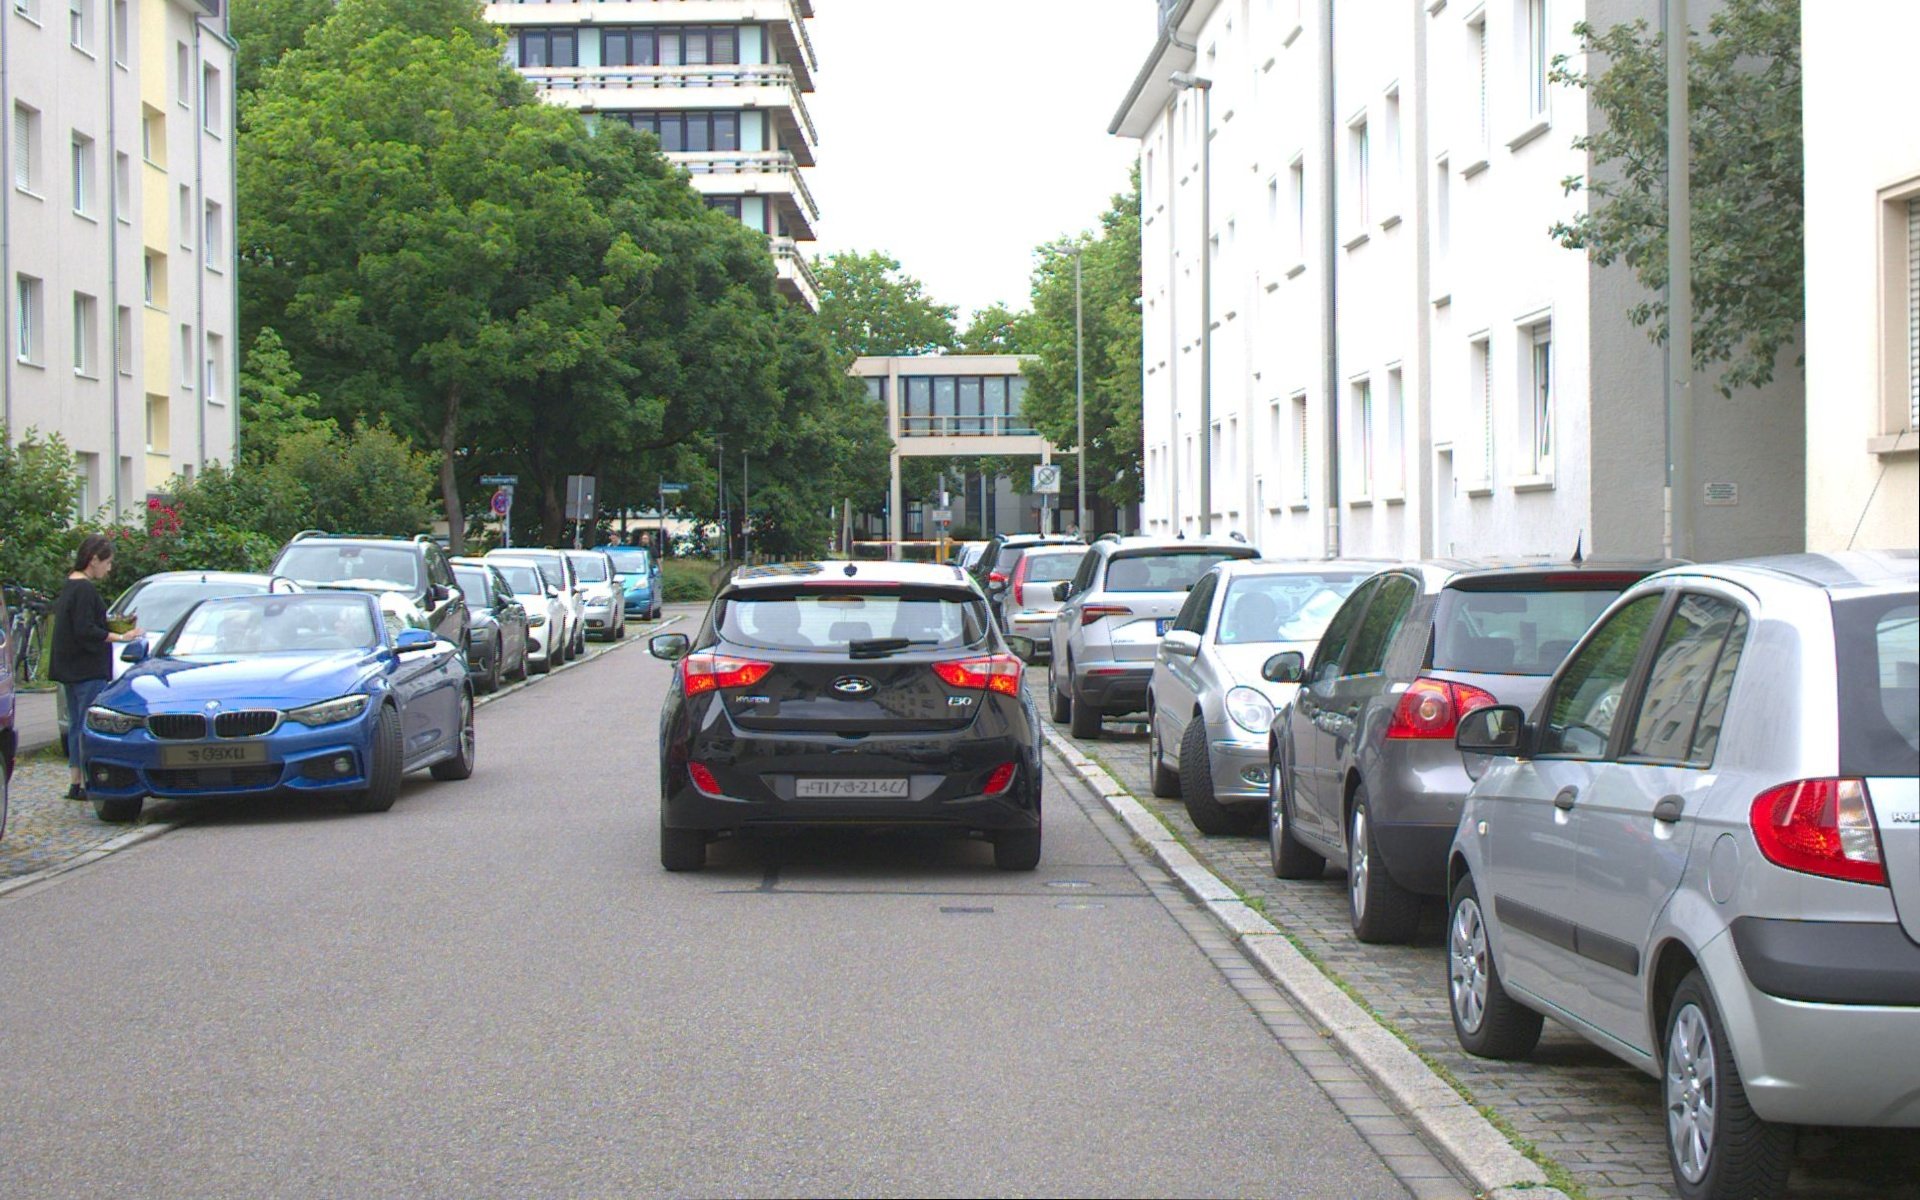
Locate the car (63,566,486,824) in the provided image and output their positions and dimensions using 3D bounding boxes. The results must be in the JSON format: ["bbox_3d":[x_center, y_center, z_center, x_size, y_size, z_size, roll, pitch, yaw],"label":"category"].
[{"bbox_3d":[-4.265,0.524,22.087,1.845,1.446,4.501,0,1,0],"label":"car"}]

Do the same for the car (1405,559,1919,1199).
[{"bbox_3d":[2.407,0.630,8.946,1.848,1.445,3.833,0,1,-2],"label":"car"}]

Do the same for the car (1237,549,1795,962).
[{"bbox_3d":[2.164,0.534,14.348,1.602,1.471,3.869,1,1,-1],"label":"car"}]

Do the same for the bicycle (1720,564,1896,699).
[{"bbox_3d":[6.817,0.250,27.655,1.293,1.059,0.497,-1,1,1],"label":"bicycle"}]

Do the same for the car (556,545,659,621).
[{"bbox_3d":[-7.367,-0.376,72.205,1.993,1.536,4.001,0,1,-4],"label":"car"}]

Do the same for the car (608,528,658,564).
[{"bbox_3d":[-12.392,-2.066,130.331,1.665,1.328,3.396,0,1,-1],"label":"car"}]

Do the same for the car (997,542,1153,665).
[{"bbox_3d":[1.432,0.011,44.244,1.820,1.498,4.091,0,1,-1],"label":"car"}]

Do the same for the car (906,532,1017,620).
[{"bbox_3d":[-0.010,-0.464,62.147,1.820,1.514,4.674,0,1,-2],"label":"car"}]

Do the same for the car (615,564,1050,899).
[{"bbox_3d":[-0.592,0.558,17.319,1.903,1.428,4.233,-1,1,-1],"label":"car"}]

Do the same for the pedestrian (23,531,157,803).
[{"bbox_3d":[-5.587,0.414,22.057,0.740,1.696,0.796,-1,1,-19],"label":"pedestrian"}]

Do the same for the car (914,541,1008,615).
[{"bbox_3d":[-0.012,-0.496,72.759,1.820,1.514,4.674,0,1,-2],"label":"car"}]

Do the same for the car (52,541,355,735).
[{"bbox_3d":[-6.167,0.260,28.404,1.744,1.459,3.786,-1,1,-1],"label":"car"}]

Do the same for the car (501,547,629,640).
[{"bbox_3d":[-6.844,-0.134,59.894,1.993,1.536,4.001,0,1,-4],"label":"car"}]

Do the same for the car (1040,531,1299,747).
[{"bbox_3d":[1.641,0.261,28.172,1.820,1.636,4.091,0,1,-1],"label":"car"}]

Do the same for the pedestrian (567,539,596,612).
[{"bbox_3d":[-8.909,-0.584,81.015,0.600,1.707,0.648,0,1,0],"label":"pedestrian"}]

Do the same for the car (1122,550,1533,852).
[{"bbox_3d":[1.925,0.470,19.283,1.725,1.471,4.505,0,1,-1],"label":"car"}]

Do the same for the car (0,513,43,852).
[{"bbox_3d":[-5.905,0.443,16.748,1.956,1.764,4.362,0,1,-4],"label":"car"}]

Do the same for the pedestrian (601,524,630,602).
[{"bbox_3d":[-8.144,-0.877,81.324,0.605,1.825,0.675,0,1,0],"label":"pedestrian"}]

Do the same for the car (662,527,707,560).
[{"bbox_3d":[-11.507,-2.378,143.783,1.665,1.328,3.396,0,1,-1],"label":"car"}]

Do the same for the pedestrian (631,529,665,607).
[{"bbox_3d":[-7.363,-0.763,81.131,0.714,1.825,0.797,0,1,0],"label":"pedestrian"}]

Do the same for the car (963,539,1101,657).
[{"bbox_3d":[0.992,-0.062,49.009,1.820,1.597,4.091,0,1,-1],"label":"car"}]

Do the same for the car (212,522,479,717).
[{"bbox_3d":[-5.981,0.147,33.954,1.895,1.734,4.475,2,1,-2],"label":"car"}]

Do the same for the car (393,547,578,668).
[{"bbox_3d":[-6.216,0.062,45.471,1.895,1.447,4.521,2,1,-2],"label":"car"}]

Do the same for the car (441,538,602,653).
[{"bbox_3d":[-6.528,-0.099,51.588,1.895,1.593,4.521,2,1,-2],"label":"car"}]

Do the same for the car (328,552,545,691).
[{"bbox_3d":[-6.033,0.203,40.128,1.895,1.447,4.667,2,1,-2],"label":"car"}]
